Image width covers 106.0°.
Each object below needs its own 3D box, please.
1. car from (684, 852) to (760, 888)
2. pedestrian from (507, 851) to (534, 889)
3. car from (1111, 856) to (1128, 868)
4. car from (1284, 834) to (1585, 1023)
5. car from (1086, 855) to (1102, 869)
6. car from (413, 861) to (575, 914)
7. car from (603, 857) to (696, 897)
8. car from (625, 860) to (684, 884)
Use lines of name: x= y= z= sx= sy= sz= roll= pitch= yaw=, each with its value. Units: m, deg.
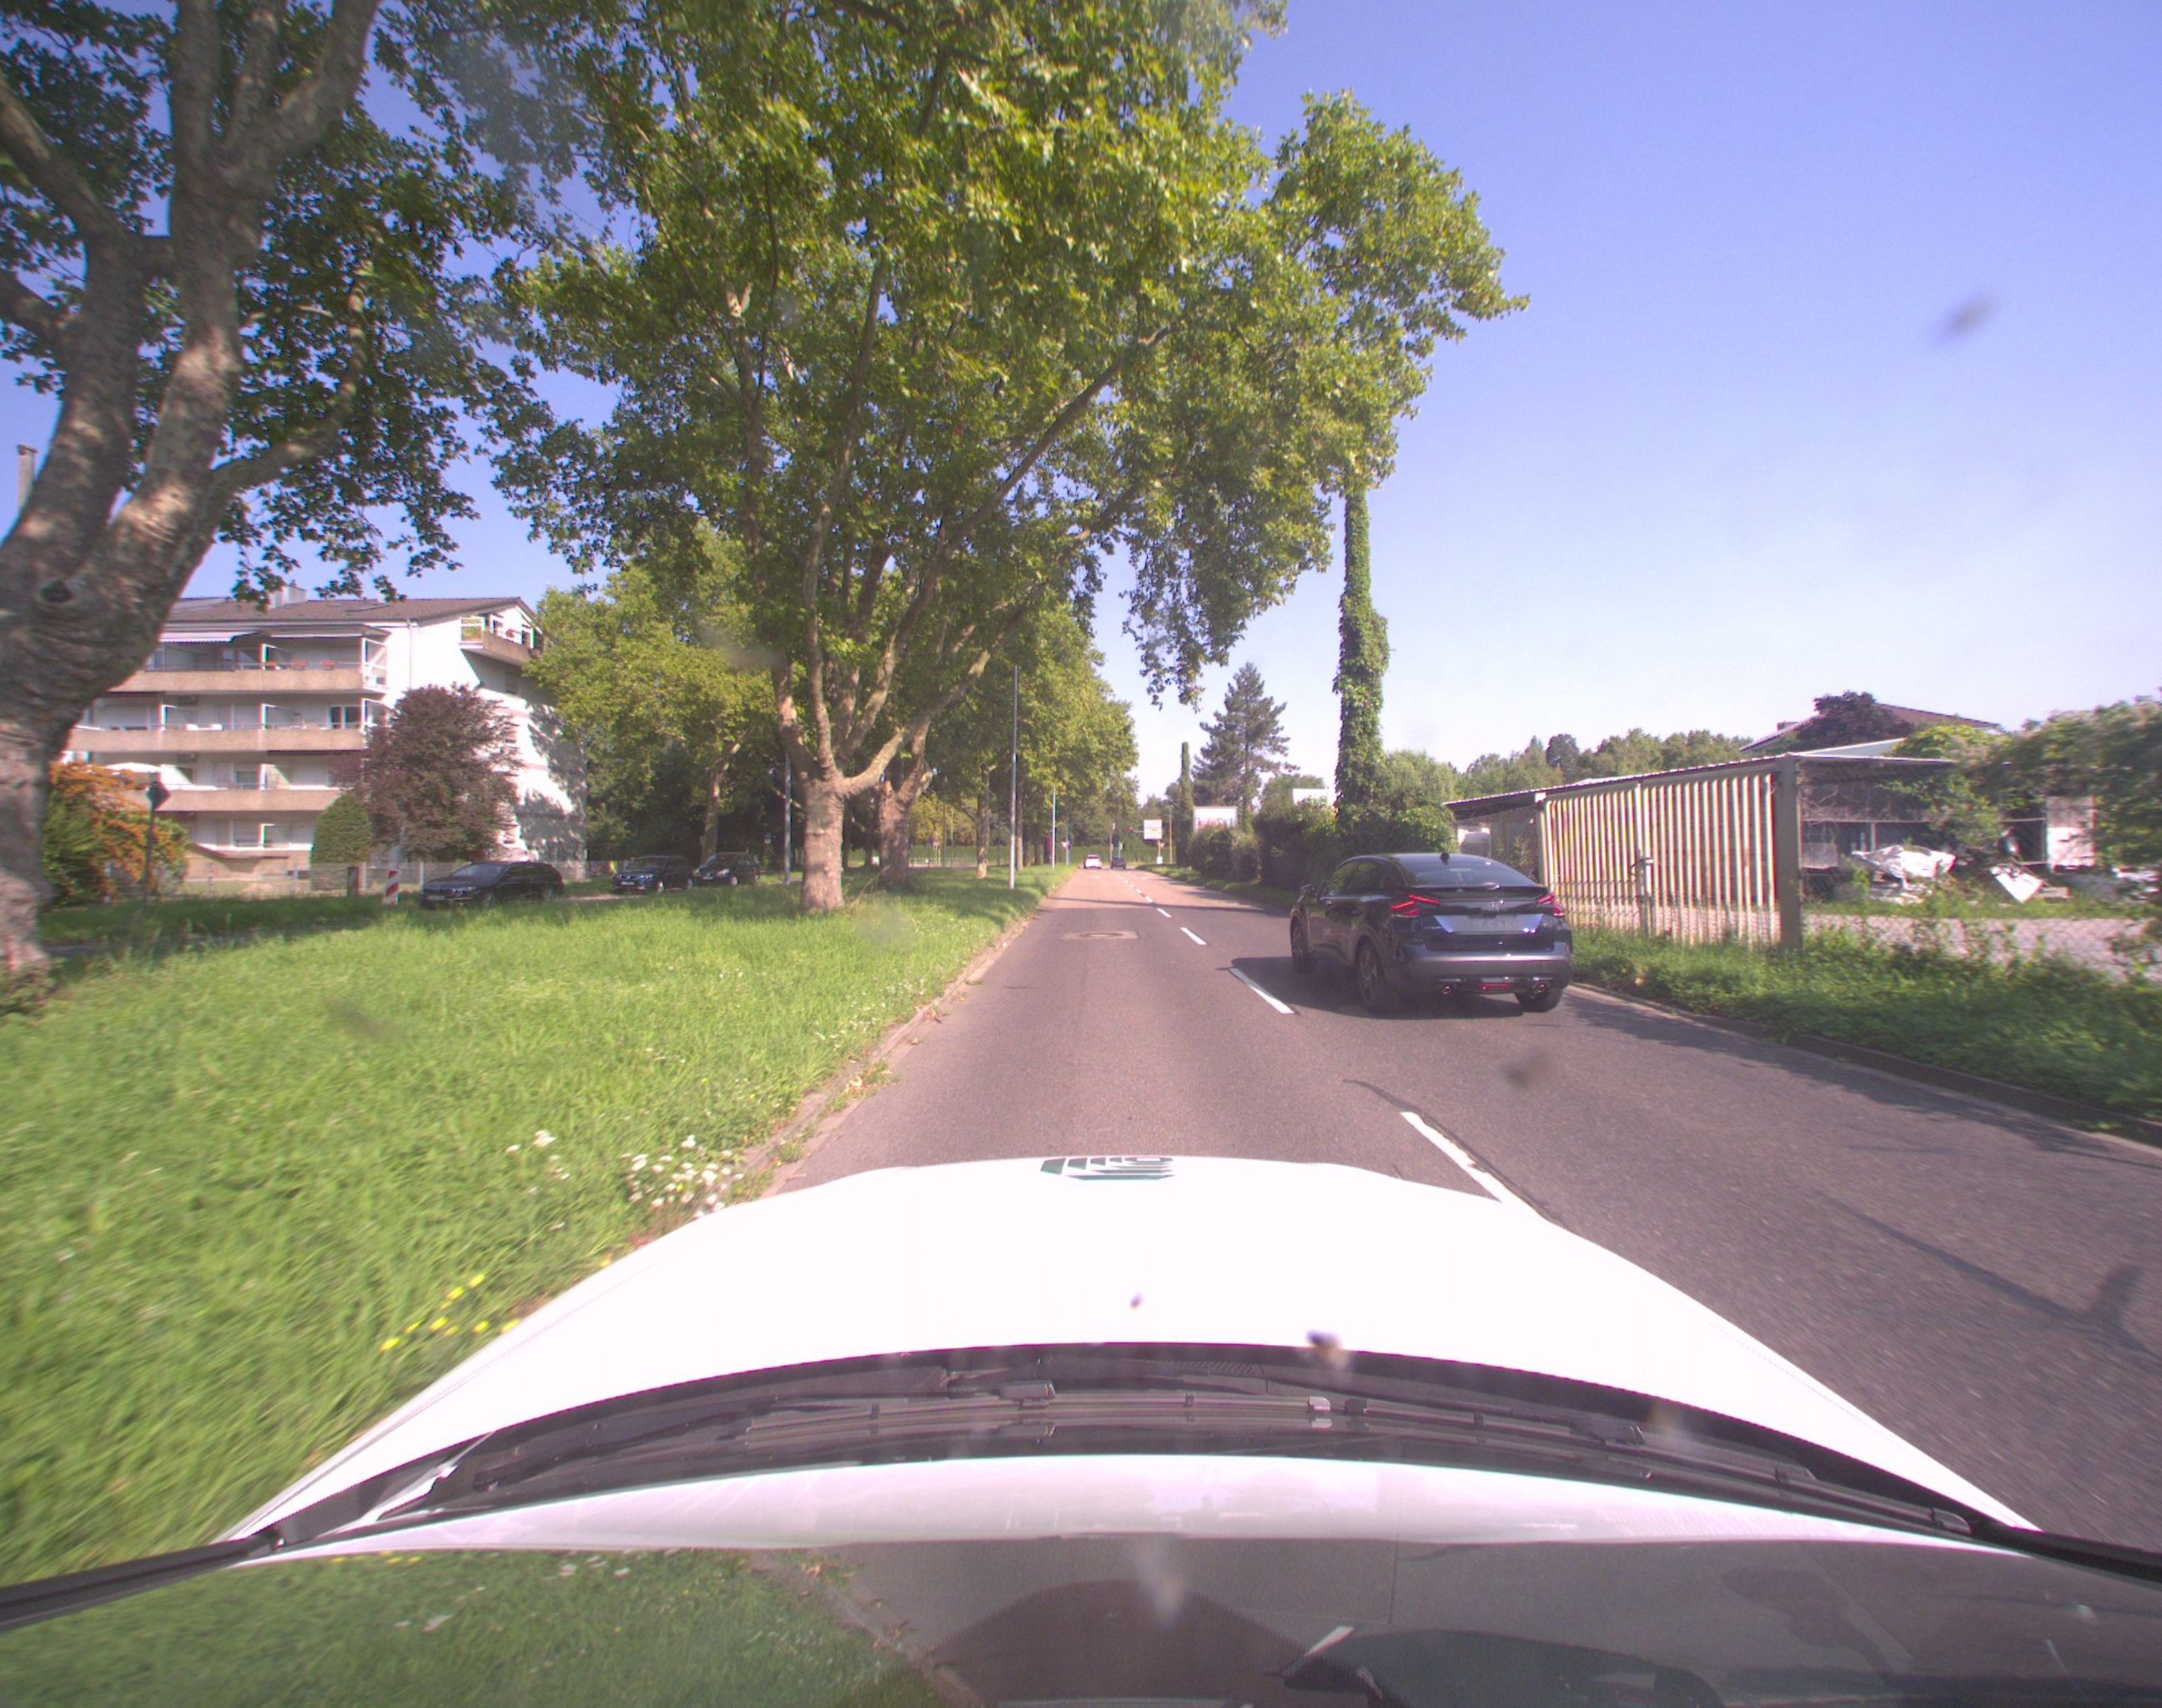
car: x=-18.307 y=0.777 z=41.763 sx=1.693 sy=1.732 sz=4.660 roll=0 pitch=-1 yaw=1
pedestrian: x=-24.425 y=0.690 z=35.480 sx=0.645 sy=1.646 sz=0.735 roll=0 pitch=-1 yaw=0
car: x=4.523 y=0.984 z=96.551 sx=1.792 sy=1.401 sz=4.000 roll=0 pitch=-1 yaw=0
car: x=3.541 y=0.655 z=9.078 sx=1.638 sy=1.588 sz=4.257 roll=-1 pitch=-1 yaw=2
car: x=1.406 y=0.873 z=87.721 sx=1.681 sy=1.462 sz=4.002 roll=0 pitch=-1 yaw=2
car: x=-18.216 y=0.983 z=25.583 sx=1.693 sy=1.508 sz=4.542 roll=0 pitch=0 yaw=1
car: x=-18.148 y=0.926 z=34.459 sx=1.693 sy=1.568 sz=4.001 roll=0 pitch=0 yaw=1
car: x=-31.895 y=1.291 z=61.073 sx=1.688 sy=1.726 sz=4.396 roll=0 pitch=-1 yaw=6
